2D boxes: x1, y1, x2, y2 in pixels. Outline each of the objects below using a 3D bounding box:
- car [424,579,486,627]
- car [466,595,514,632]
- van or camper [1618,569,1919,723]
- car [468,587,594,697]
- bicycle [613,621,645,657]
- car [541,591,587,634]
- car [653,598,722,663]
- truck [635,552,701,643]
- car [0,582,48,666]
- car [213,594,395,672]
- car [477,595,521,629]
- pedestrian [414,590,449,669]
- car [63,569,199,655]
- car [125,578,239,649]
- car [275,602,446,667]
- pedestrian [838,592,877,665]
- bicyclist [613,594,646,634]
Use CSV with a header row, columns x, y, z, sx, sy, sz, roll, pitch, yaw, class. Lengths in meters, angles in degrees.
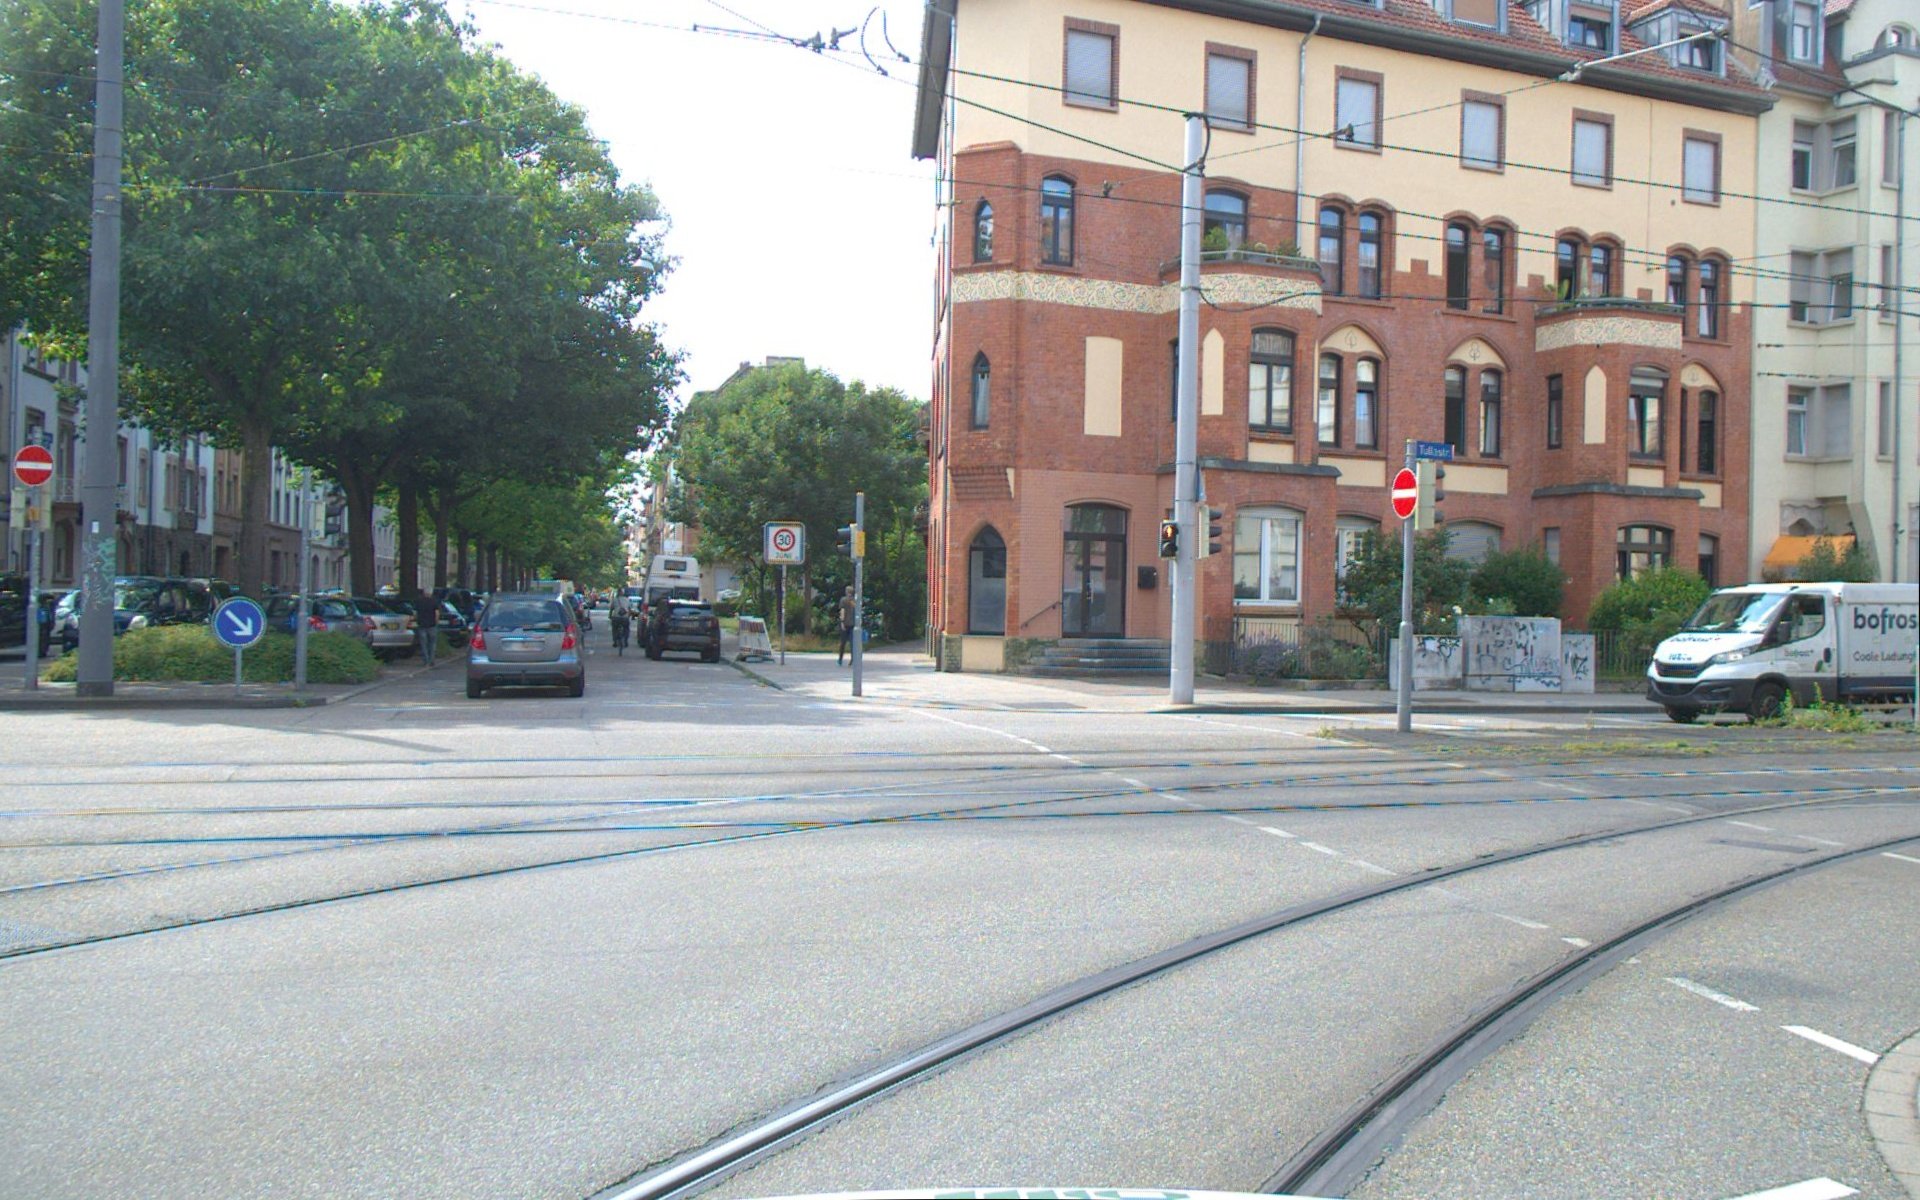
x,y,z,sx,sy,sz,roll,pitch,yaw,class
-17.971,0.102,59.011,1.721,1.661,3.490,1,0,-11,car
-20.611,0.573,72.635,1.721,1.543,3.490,1,0,-11,car
14.006,0.743,26.686,6.425,2.293,2.235,1,0,-19,van or camper
-6.759,0.623,26.359,1.692,1.634,3.667,0,0,-11,car
-9.274,1.083,46.359,0.735,0.975,2.294,0,0,-8,bicycle
-16.334,0.504,68.314,1.692,1.736,3.667,0,0,-11,car
-7.361,0.801,44.848,1.719,1.661,3.493,1,0,-8,car
-10.091,-0.085,57.376,2.083,3.022,3.993,0,0,-8,truck
-20.254,0.464,33.858,1.962,1.646,3.981,0,0,-17,car
-14.047,0.676,35.359,3.925,1.521,1.965,1,0,39,car
-22.072,0.559,79.224,1.721,1.543,3.490,1,0,-11,car
-11.853,0.663,37.110,0.639,1.755,0.493,1,0,-8,pedestrian
-17.904,0.243,35.895,1.962,1.758,3.981,0,0,-17,car
-19.157,0.322,40.893,1.962,1.646,3.981,0,0,-17,car
-13.830,0.758,38.076,3.925,1.362,1.965,1,0,39,car
-2.411,0.657,38.936,0.852,1.685,0.735,1,0,-8,pedestrian
-9.270,0.377,46.409,0.820,1.101,1.397,0,0,-8,bicyclist
